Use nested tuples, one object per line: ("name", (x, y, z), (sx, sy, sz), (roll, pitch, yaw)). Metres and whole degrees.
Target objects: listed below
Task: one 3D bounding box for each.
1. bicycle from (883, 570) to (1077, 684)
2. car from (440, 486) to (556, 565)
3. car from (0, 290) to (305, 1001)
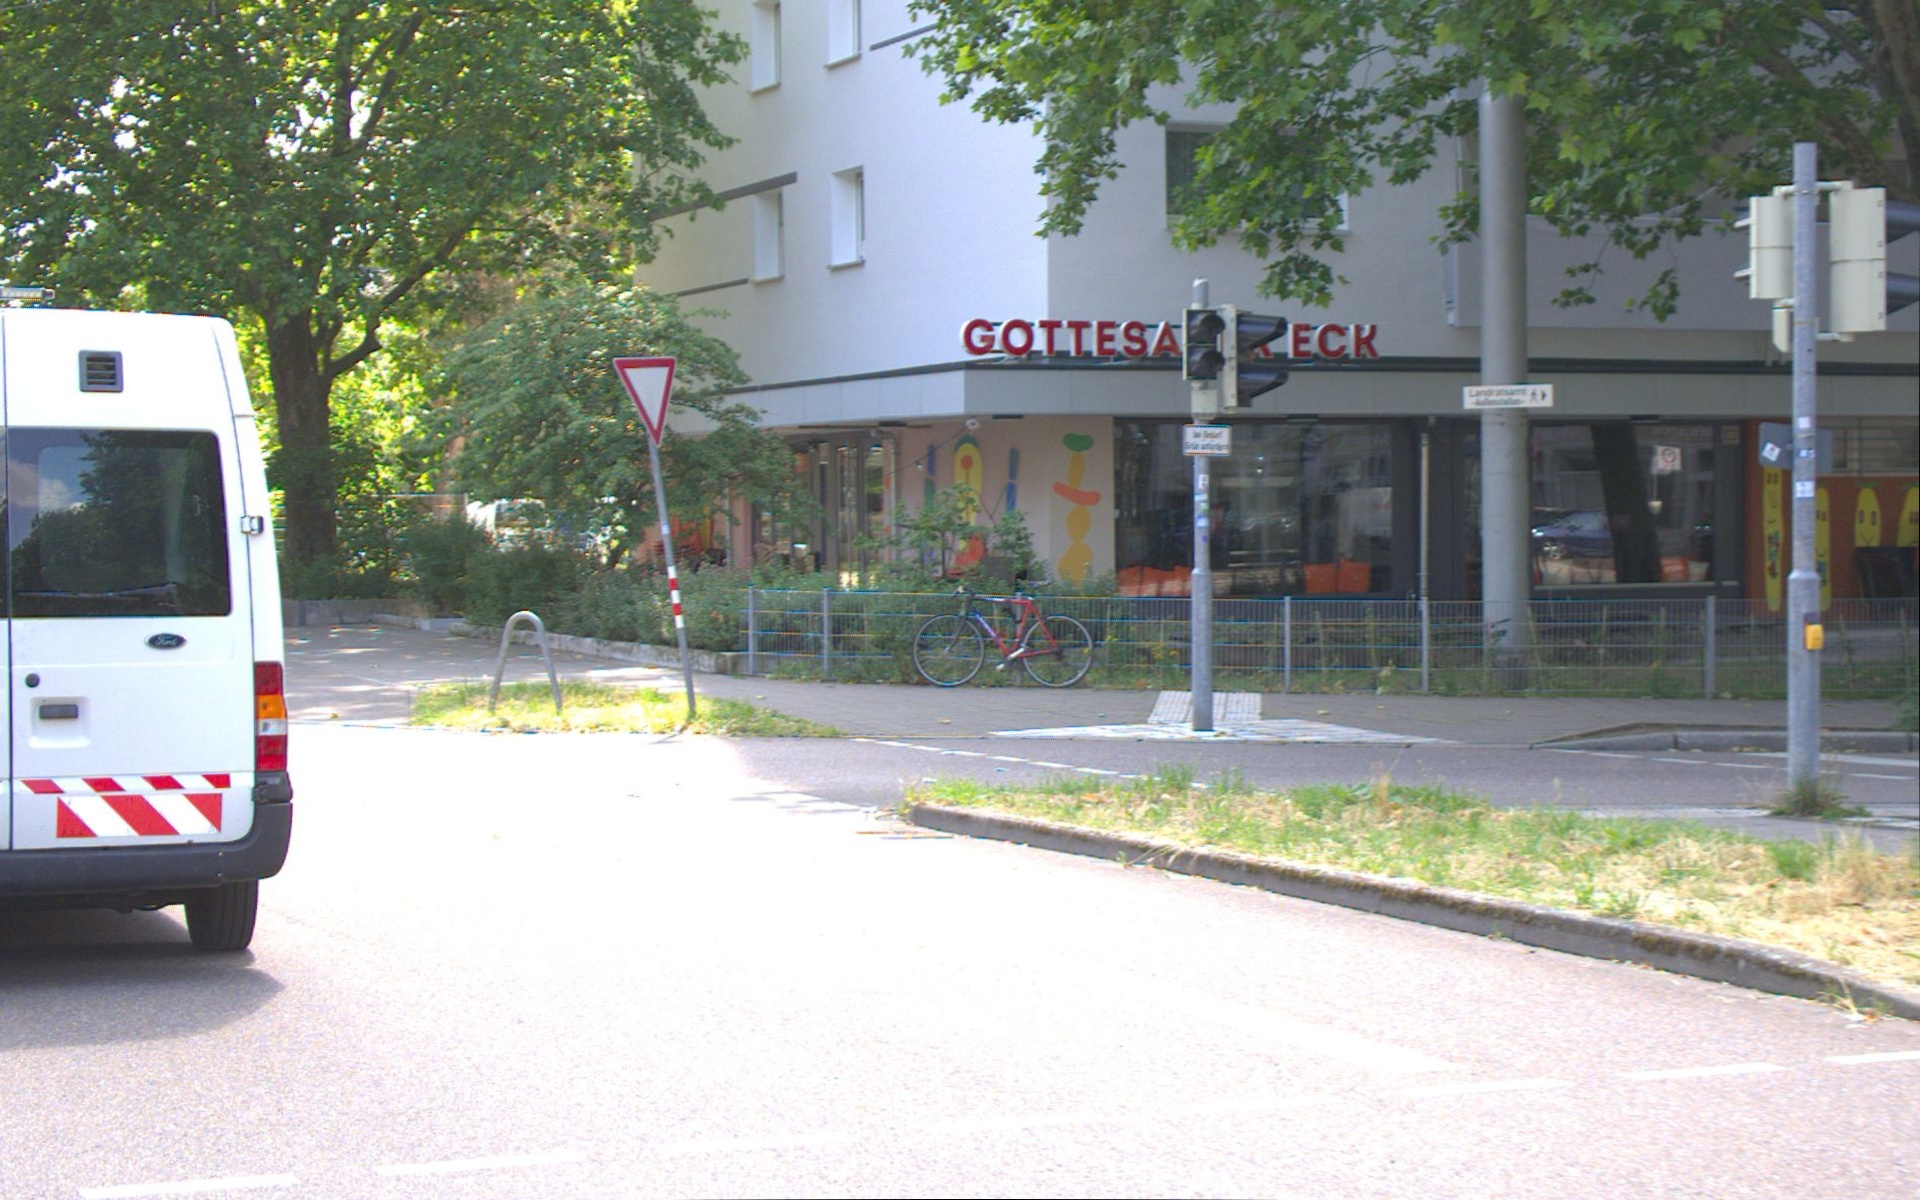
("bicycle", (0.188, 0.246, 31.377), (1.723, 1.006, 0.534), (-1, 2, 5))
("car", (-11.113, -1.799, 82.483), (1.806, 1.808, 4.340), (-1, 2, -21))
("car", (-4.023, 0.088, 13.421), (2.046, 2.325, 4.716), (0, 2, -21))
